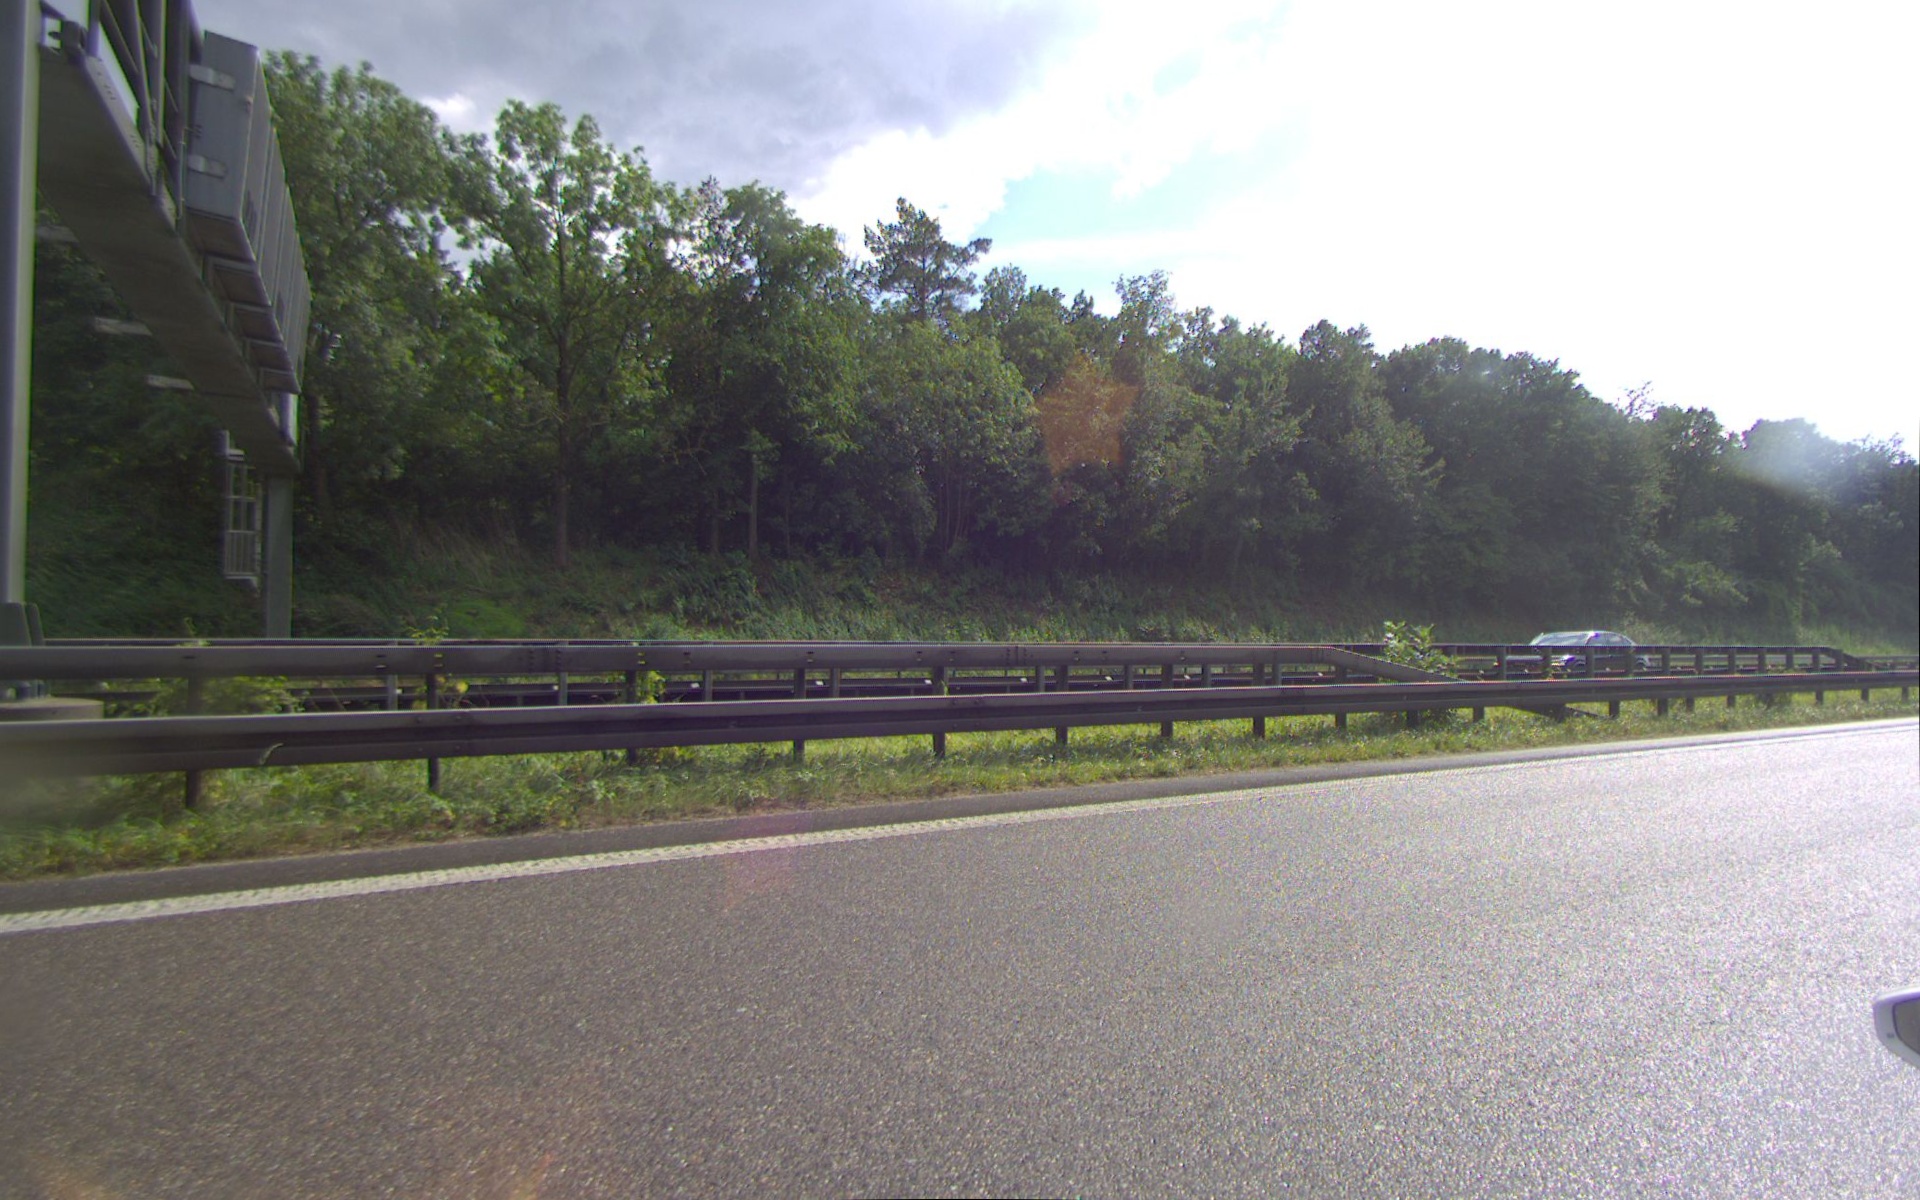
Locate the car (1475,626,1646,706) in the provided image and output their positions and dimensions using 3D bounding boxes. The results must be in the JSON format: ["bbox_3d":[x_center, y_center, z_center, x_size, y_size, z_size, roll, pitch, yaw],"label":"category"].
[{"bbox_3d":[14.289,1.533,23.866,4.065,1.685,1.758,2,0,-31],"label":"car"}]
